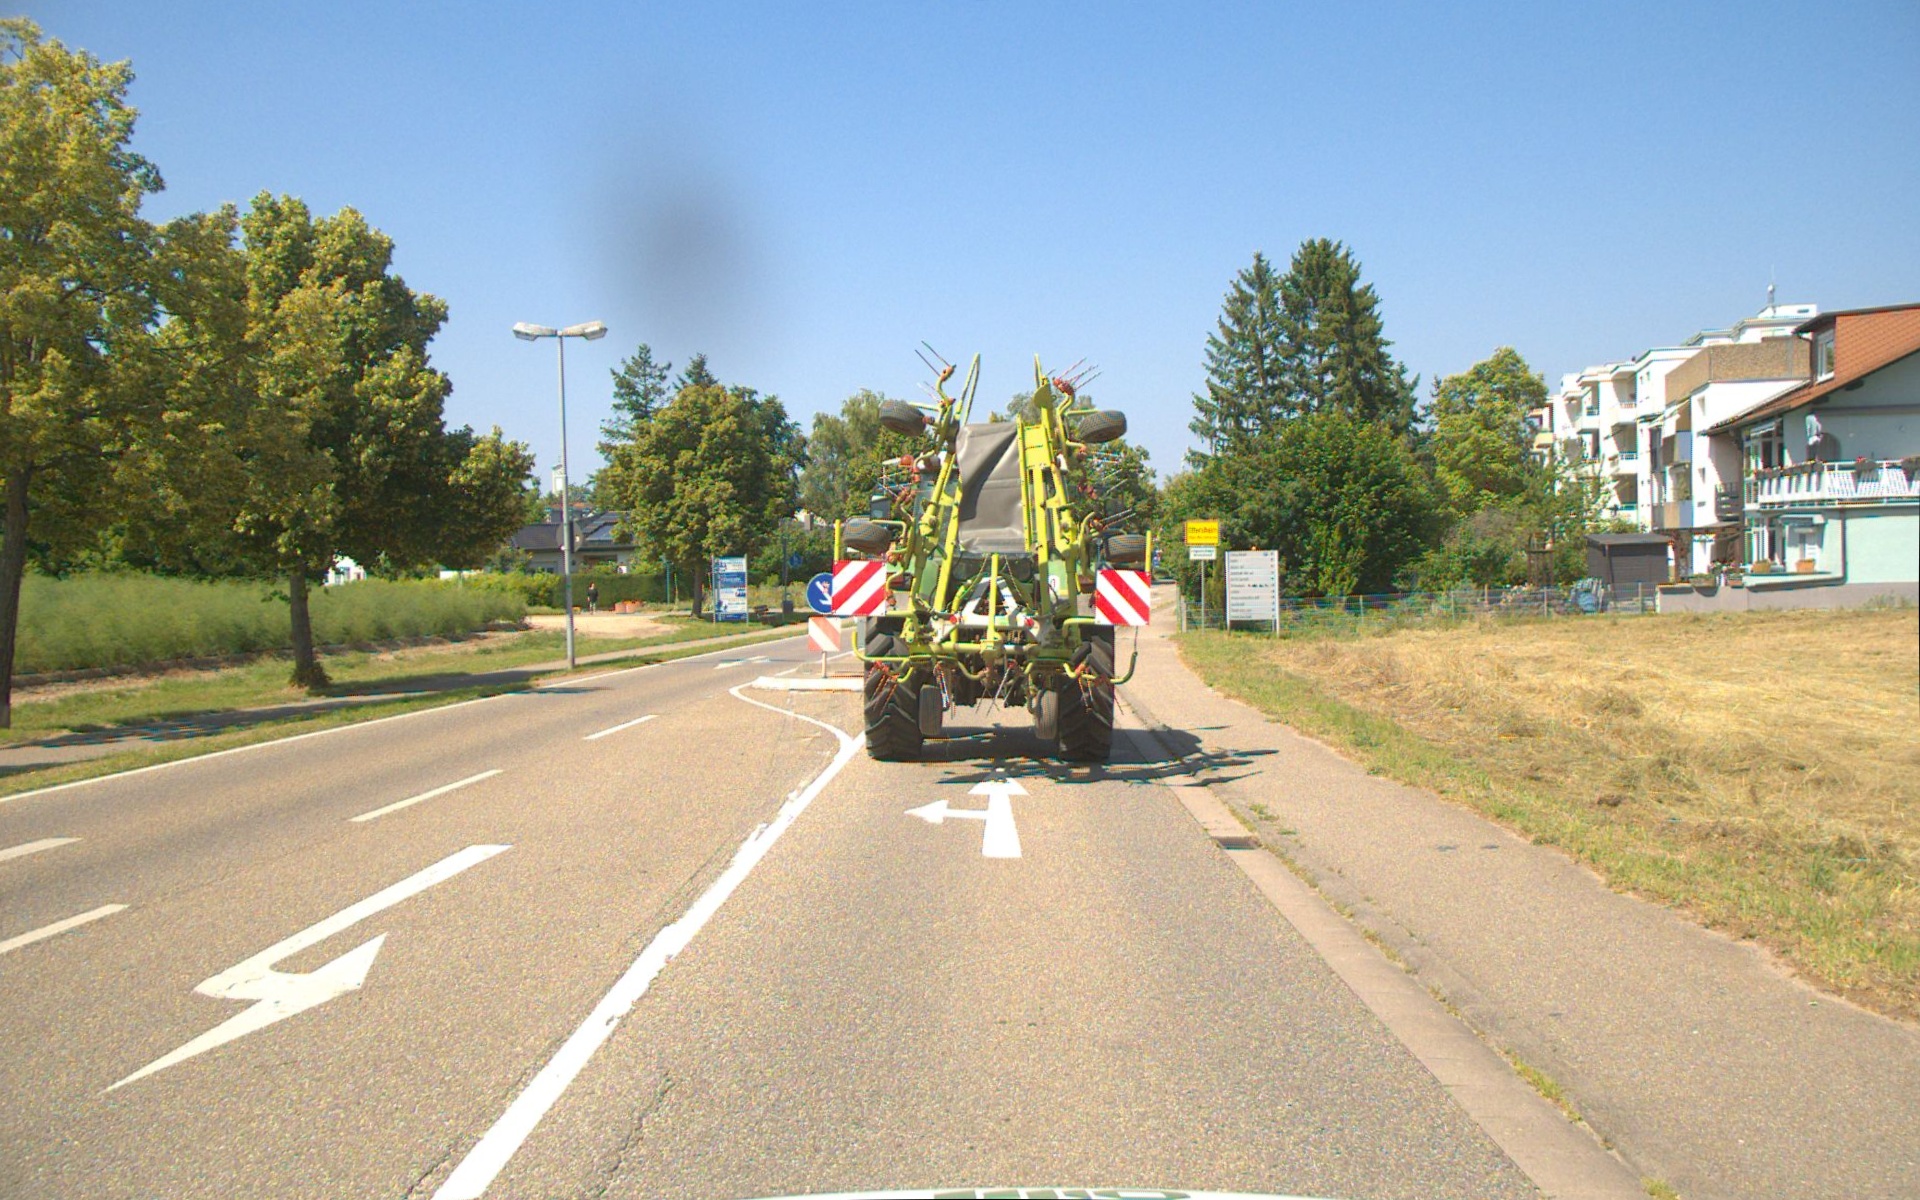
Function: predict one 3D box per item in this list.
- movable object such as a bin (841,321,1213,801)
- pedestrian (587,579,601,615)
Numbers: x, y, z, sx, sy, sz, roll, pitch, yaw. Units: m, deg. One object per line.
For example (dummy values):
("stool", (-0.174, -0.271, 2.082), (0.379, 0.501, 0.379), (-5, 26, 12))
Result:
("movable object such as a bin", (0.495, -0.352, 17.294), (2.794, 3.603, 9.700), (0, 1, 0))
("pedestrian", (-18.193, -0.151, 82.296), (0.541, 1.747, 0.671), (1, -2, -23))
